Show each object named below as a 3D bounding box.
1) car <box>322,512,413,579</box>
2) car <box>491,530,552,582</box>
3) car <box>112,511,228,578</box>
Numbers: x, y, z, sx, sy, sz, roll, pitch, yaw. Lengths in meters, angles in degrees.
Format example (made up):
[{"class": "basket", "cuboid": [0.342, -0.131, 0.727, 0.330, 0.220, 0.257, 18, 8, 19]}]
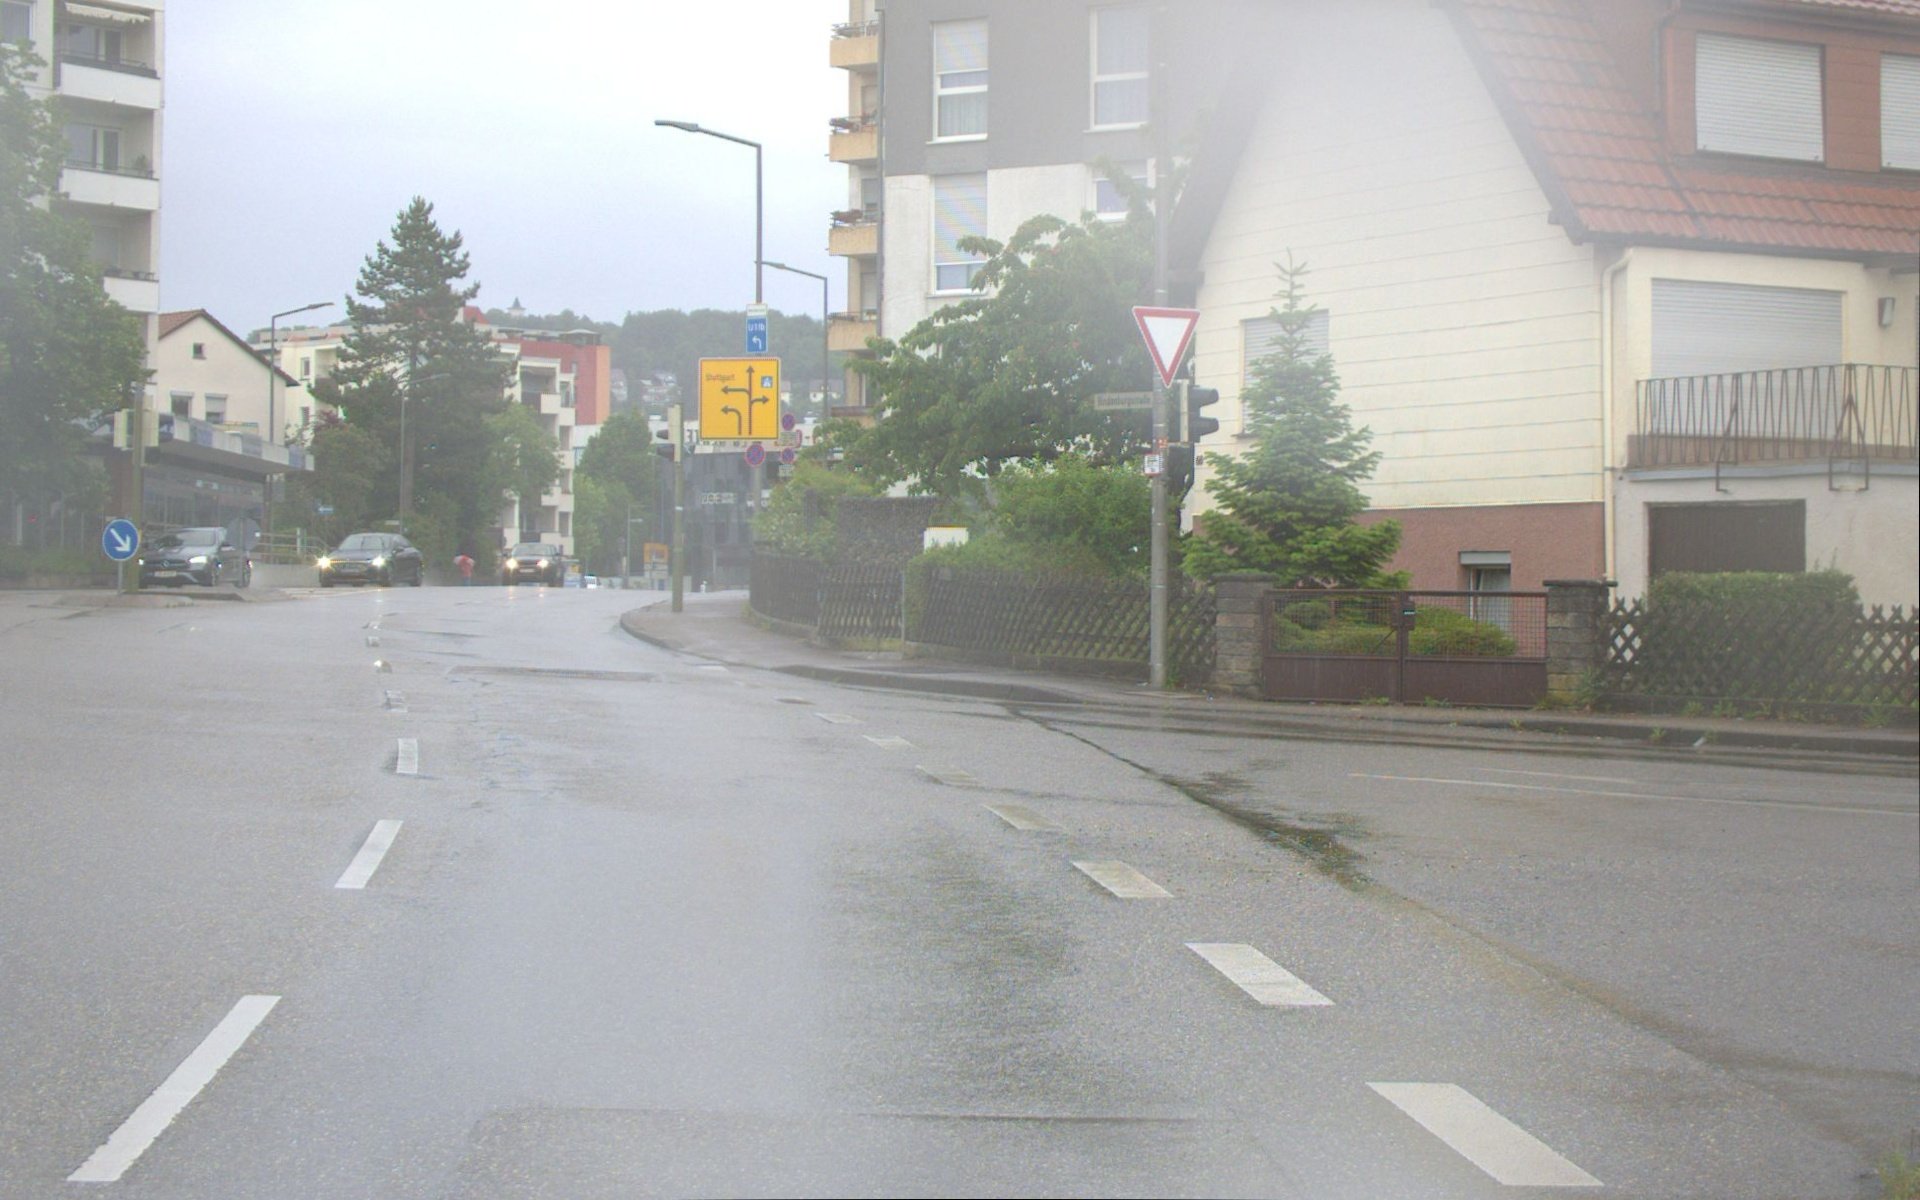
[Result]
[{"class": "car", "cuboid": [-15.525, -1.420, 90.236, 1.993, 1.673, 4.001, 1, 1, -5]}, {"class": "car", "cuboid": [-15.603, -1.552, 122.495, 1.993, 1.805, 4.001, 1, 1, -5]}, {"class": "car", "cuboid": [-17.806, -1.244, 77.620, 1.993, 1.458, 4.001, 1, 1, -5]}]
